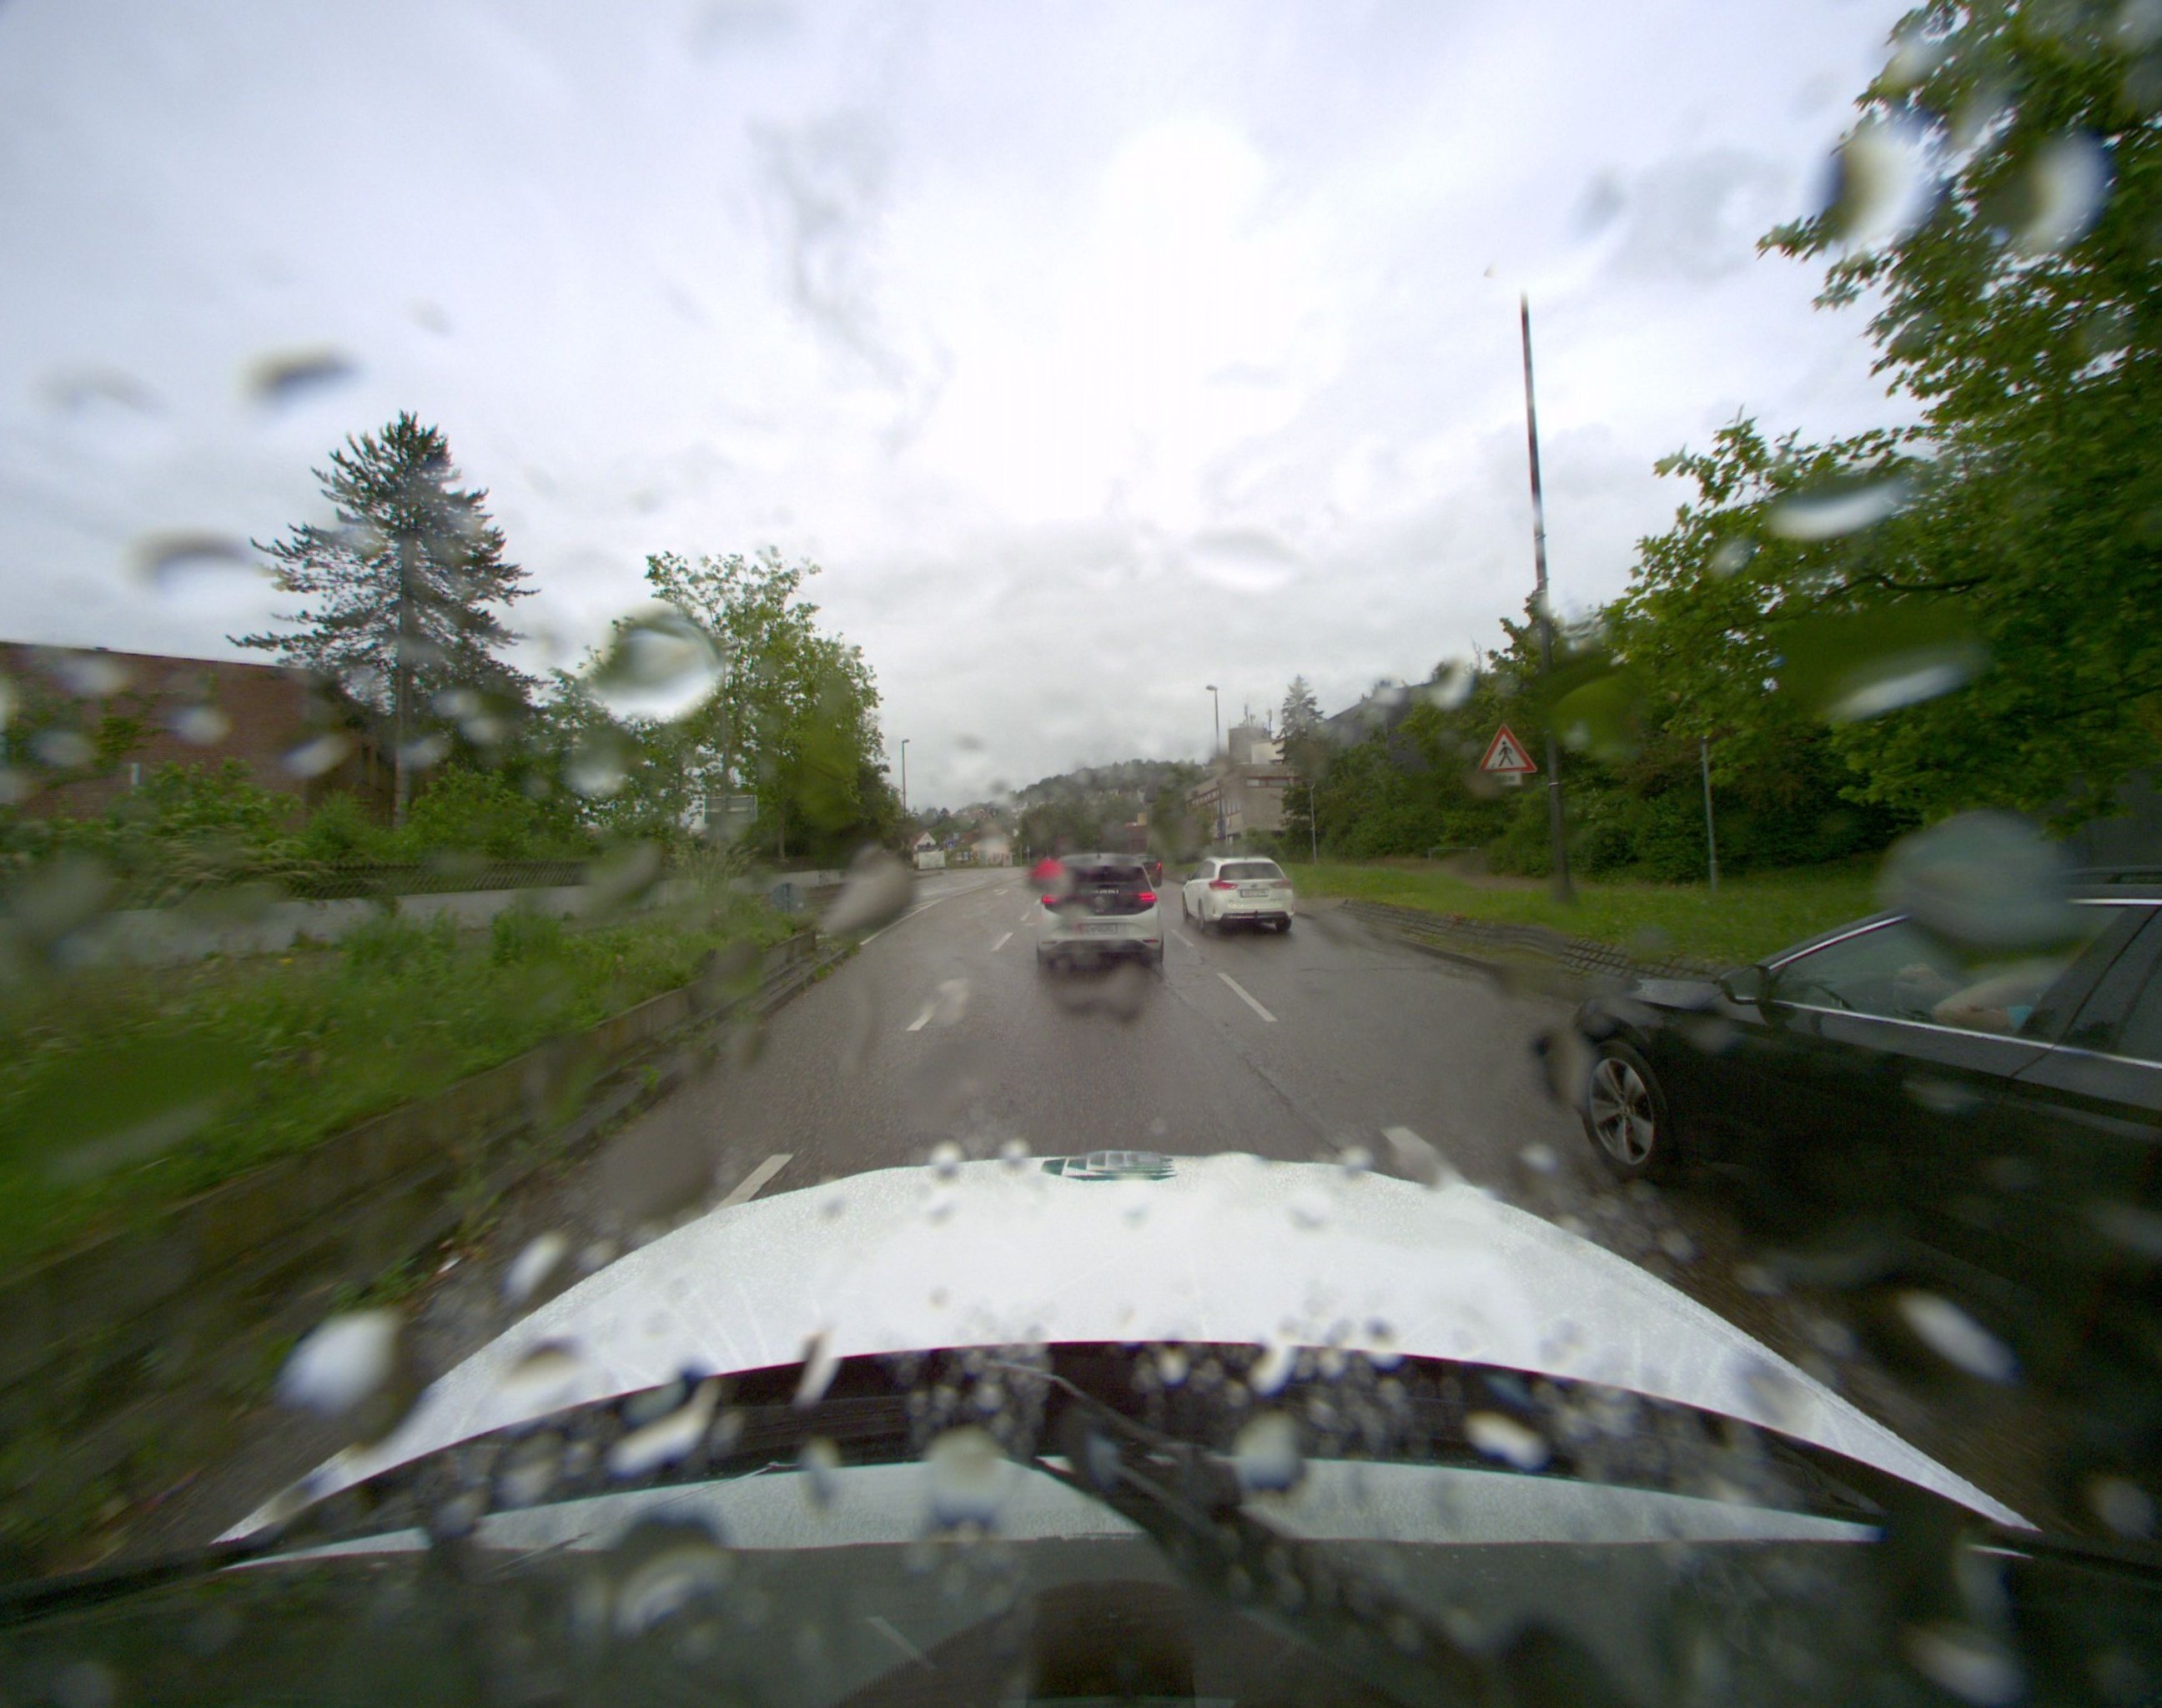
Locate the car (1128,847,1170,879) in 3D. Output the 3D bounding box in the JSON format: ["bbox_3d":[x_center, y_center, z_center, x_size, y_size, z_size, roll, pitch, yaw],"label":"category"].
[{"bbox_3d":[3.487,0.493,41.964,1.985,1.453,3.774,-4,-1,3],"label":"car"}]

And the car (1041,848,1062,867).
[{"bbox_3d":[-3.168,0.364,88.696,1.986,2.014,4.001,0,-1,2],"label":"car"}]

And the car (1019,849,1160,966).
[{"bbox_3d":[0.241,0.730,12.681,1.821,1.500,4.172,-1,-1,4],"label":"car"}]

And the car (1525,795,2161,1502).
[{"bbox_3d":[3.299,0.650,2.079,1.947,1.507,4.610,1,-1,2],"label":"car"}]

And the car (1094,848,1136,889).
[{"bbox_3d":[1.316,0.550,32.621,1.562,1.530,4.001,-1,0,1],"label":"car"}]

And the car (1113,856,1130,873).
[{"bbox_3d":[4.923,1.305,98.909,1.985,2.014,4.003,0,-1,4],"label":"car"}]

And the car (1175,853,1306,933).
[{"bbox_3d":[3.139,0.746,16.902,1.842,1.410,4.300,-1,-1,0],"label":"car"}]
